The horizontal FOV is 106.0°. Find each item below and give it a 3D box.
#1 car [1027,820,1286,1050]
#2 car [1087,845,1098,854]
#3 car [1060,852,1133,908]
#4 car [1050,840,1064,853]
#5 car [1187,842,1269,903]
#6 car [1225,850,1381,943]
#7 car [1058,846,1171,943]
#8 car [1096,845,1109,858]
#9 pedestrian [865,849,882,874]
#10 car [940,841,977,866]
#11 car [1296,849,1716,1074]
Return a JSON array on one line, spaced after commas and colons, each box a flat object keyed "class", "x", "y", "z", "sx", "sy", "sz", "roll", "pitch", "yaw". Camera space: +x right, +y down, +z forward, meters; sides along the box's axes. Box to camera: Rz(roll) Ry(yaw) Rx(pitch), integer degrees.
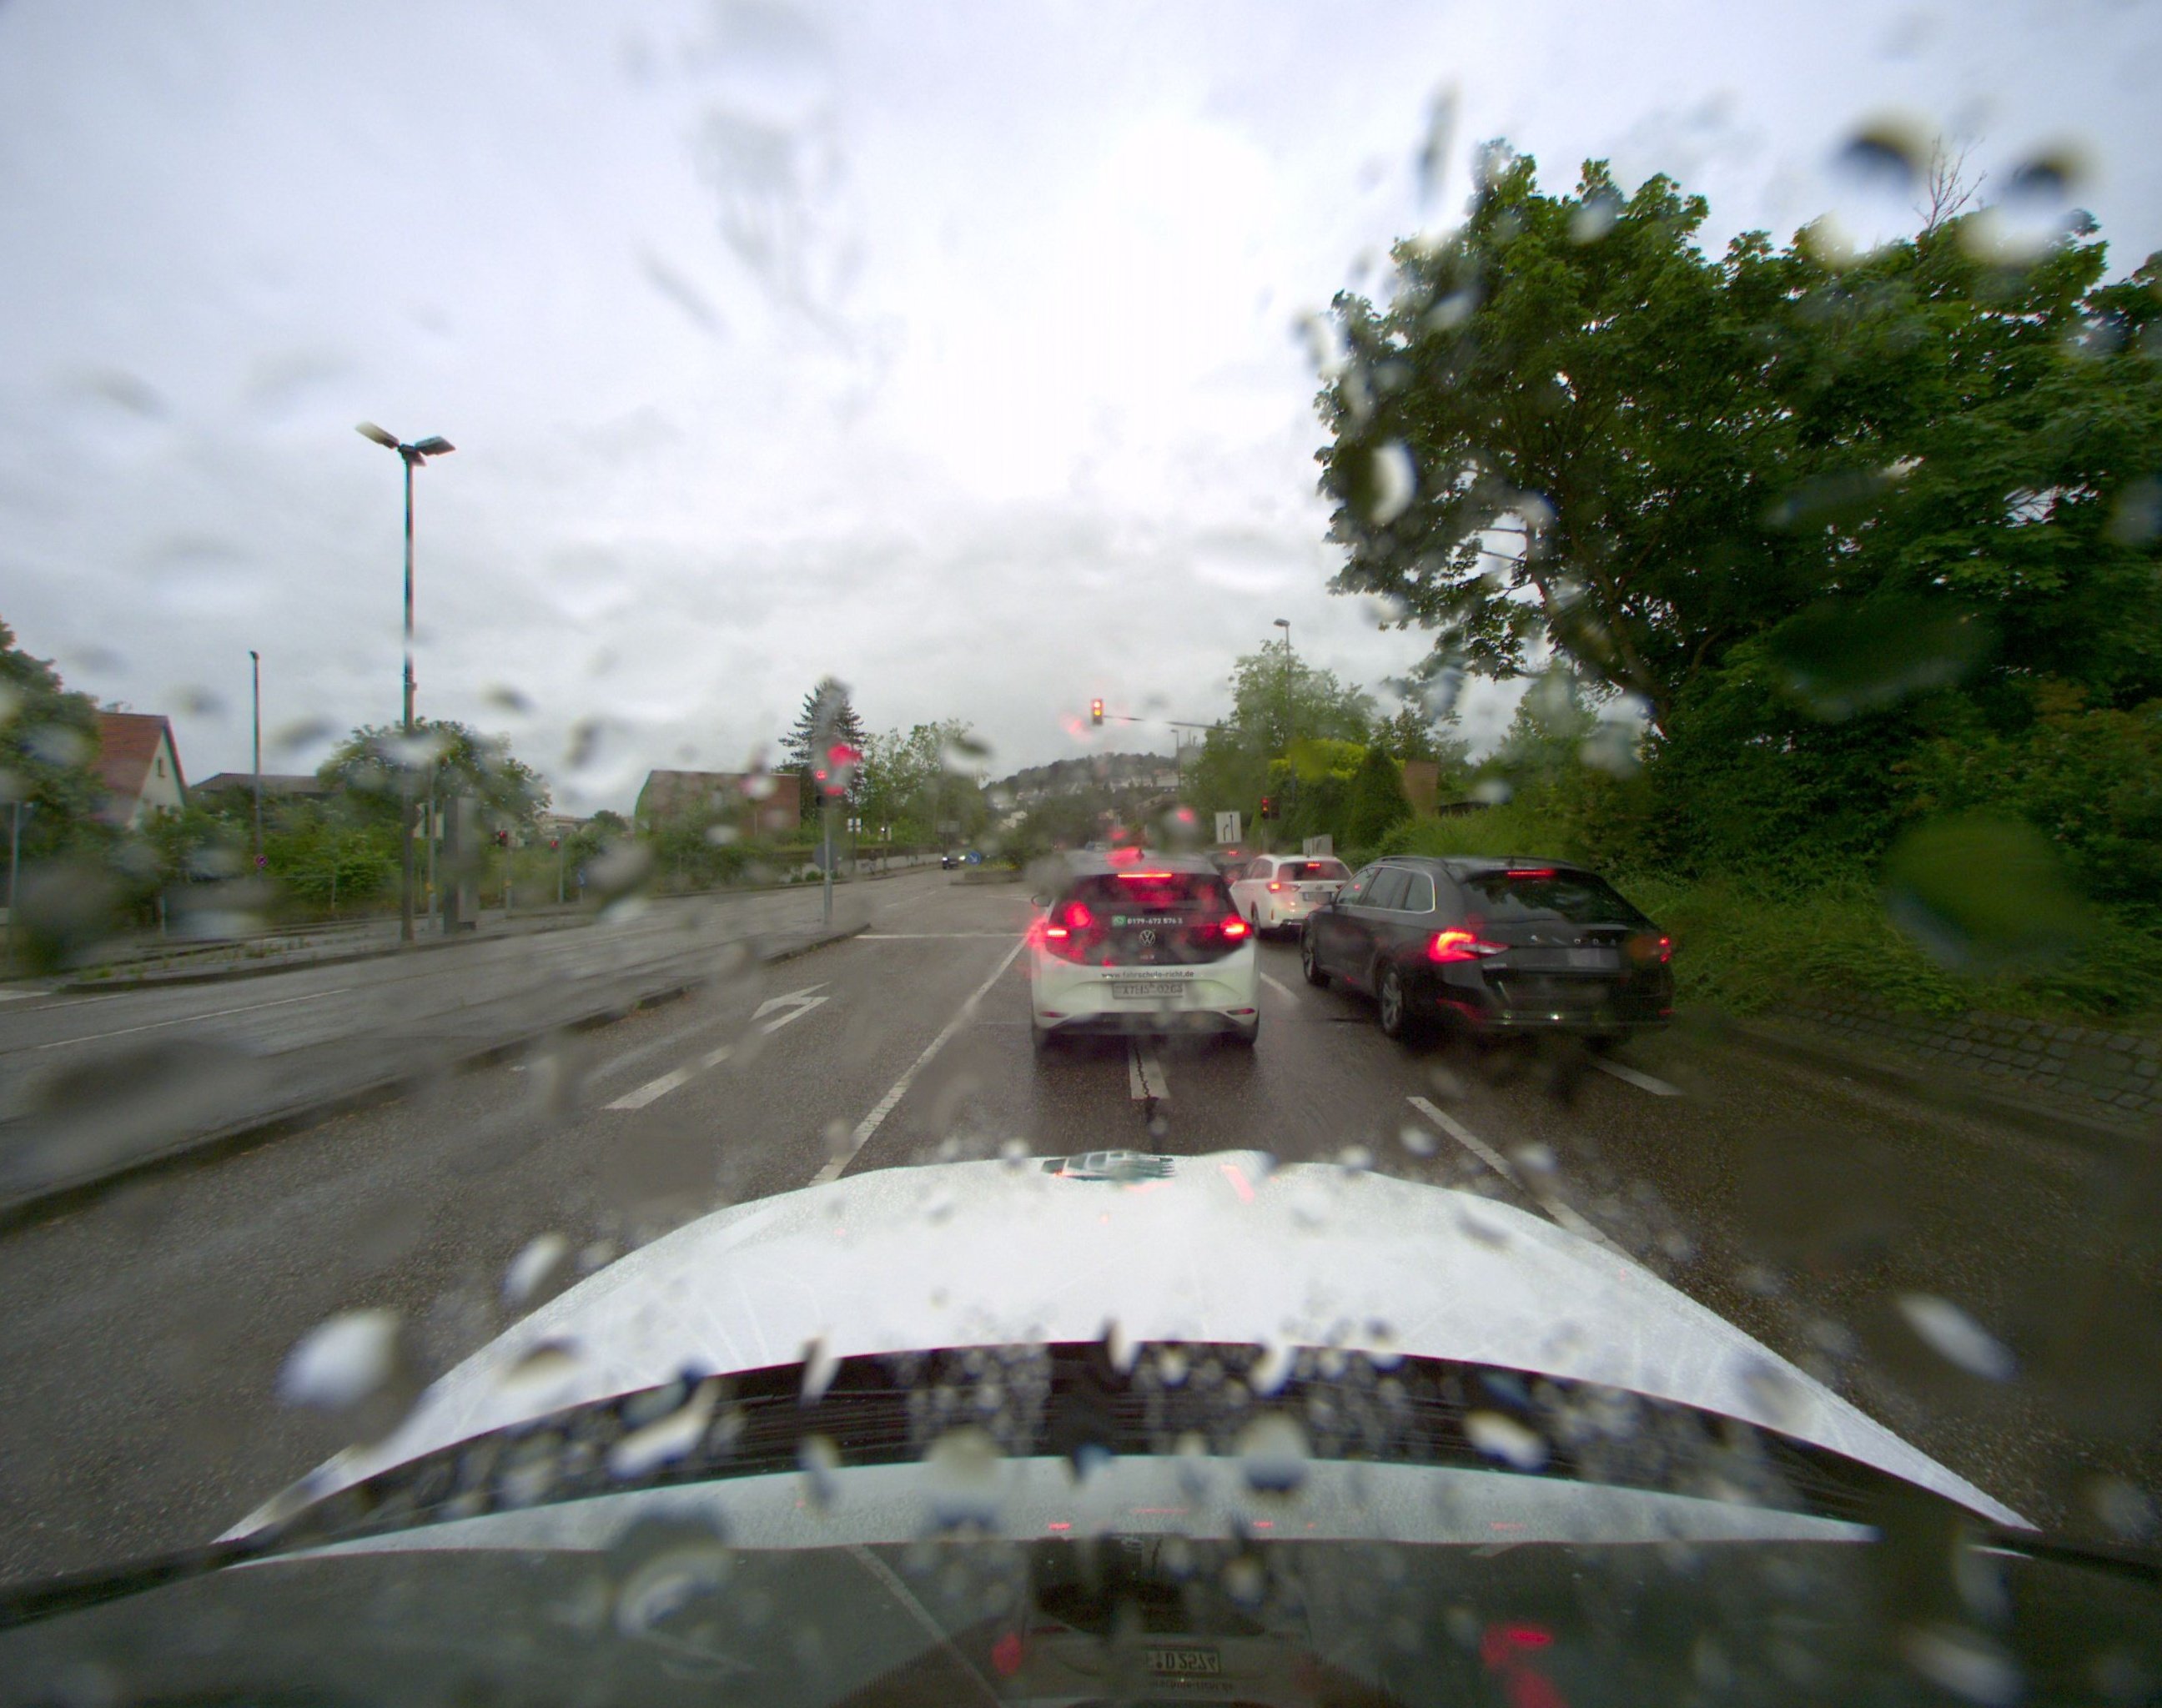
[{"class": "car", "x": 0.584, "y": 0.557, "z": 8.067, "sx": 1.831, "sy": 1.629, "sz": 4.617, "roll": 0, "pitch": 0, "yaw": 1}, {"class": "car", "x": 1.874, "y": -0.779, "z": 136.469, "sx": 1.755, "sy": 1.418, "sz": 3.748, "roll": -3, "pitch": 0, "yaw": 0}, {"class": "car", "x": 0.433, "y": 0.641, "z": 22.165, "sx": 1.831, "sy": 1.400, "sz": 3.832, "roll": 0, "pitch": 0, "yaw": 1}, {"class": "car", "x": -4.134, "y": -1.262, "z": 140.475, "sx": 1.986, "sy": 2.014, "sz": 4.002, "roll": -1, "pitch": -1, "yaw": 2}, {"class": "car", "x": 4.105, "y": 0.493, "z": 23.343, "sx": 1.769, "sy": 1.581, "sz": 4.002, "roll": 0, "pitch": 0, "yaw": 2}, {"class": "car", "x": 3.872, "y": 0.655, "z": 14.922, "sx": 1.831, "sy": 1.466, "sz": 4.118, "roll": 0, "pitch": 0, "yaw": 1}, {"class": "car", "x": 0.585, "y": 0.643, "z": 15.266, "sx": 1.831, "sy": 1.555, "sz": 4.176, "roll": 0, "pitch": 0, "yaw": 1}, {"class": "car", "x": 2.634, "y": -0.324, "z": 101.428, "sx": 1.575, "sy": 1.467, "sz": 4.000, "roll": -3, "pitch": -1, "yaw": 1}, {"class": "pedestrian", "x": -13.421, "y": 0.457, "z": 52.612, "sx": 0.757, "sy": 1.568, "sz": 0.825, "roll": -4, "pitch": 0, "yaw": 1}, {"class": "car", "x": -9.509, "y": -0.045, "z": 63.432, "sx": 1.986, "sy": 1.804, "sz": 4.002, "roll": -4, "pitch": 0, "yaw": 2}, {"class": "car", "x": 3.360, "y": 0.687, "z": 7.527, "sx": 1.830, "sy": 1.466, "sz": 4.353, "roll": 0, "pitch": 0, "yaw": 3}]
